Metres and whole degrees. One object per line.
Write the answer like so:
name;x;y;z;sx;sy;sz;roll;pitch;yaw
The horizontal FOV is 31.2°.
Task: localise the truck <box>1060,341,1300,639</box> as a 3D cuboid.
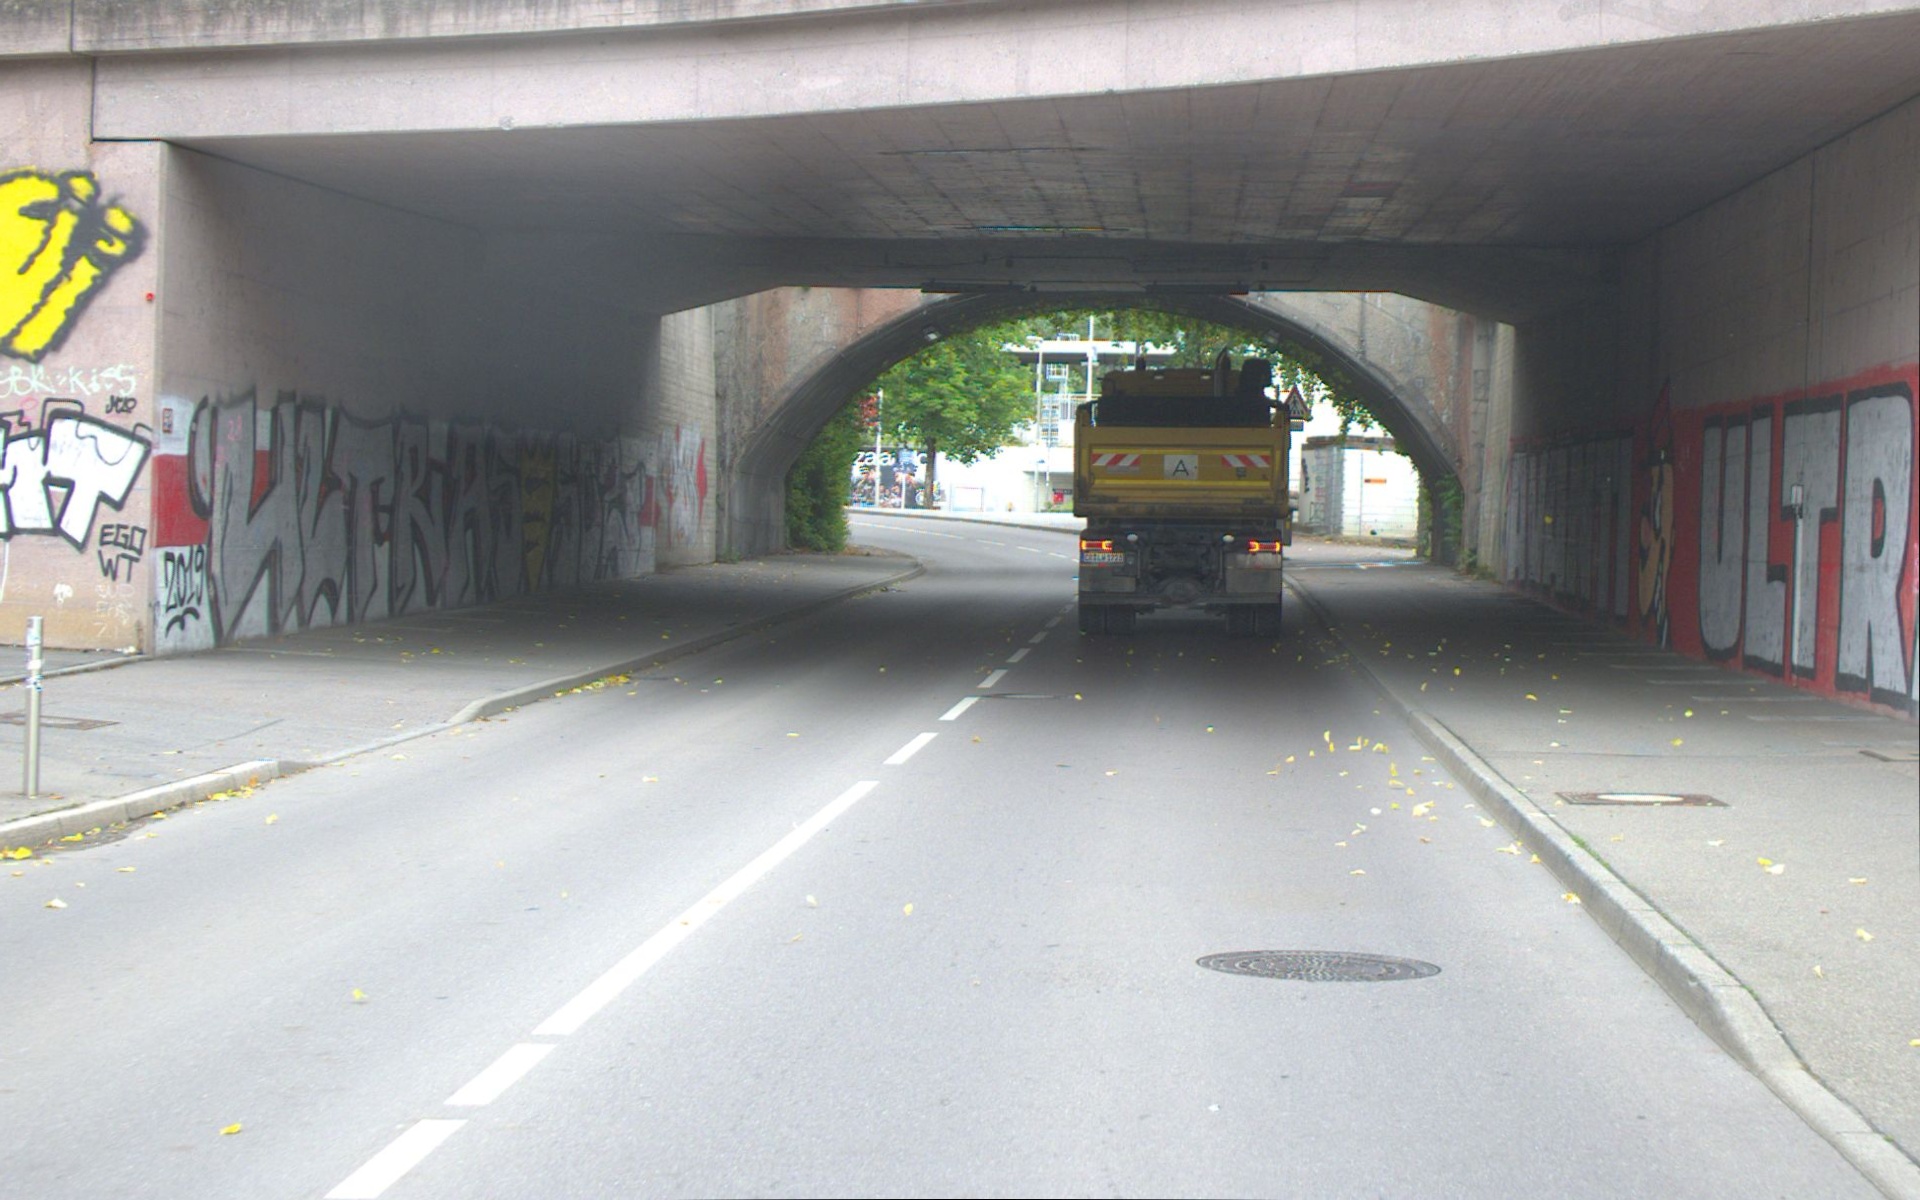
truck;2.970;-1.507;44.450;2.765;3.471;8.128;1;3;5
